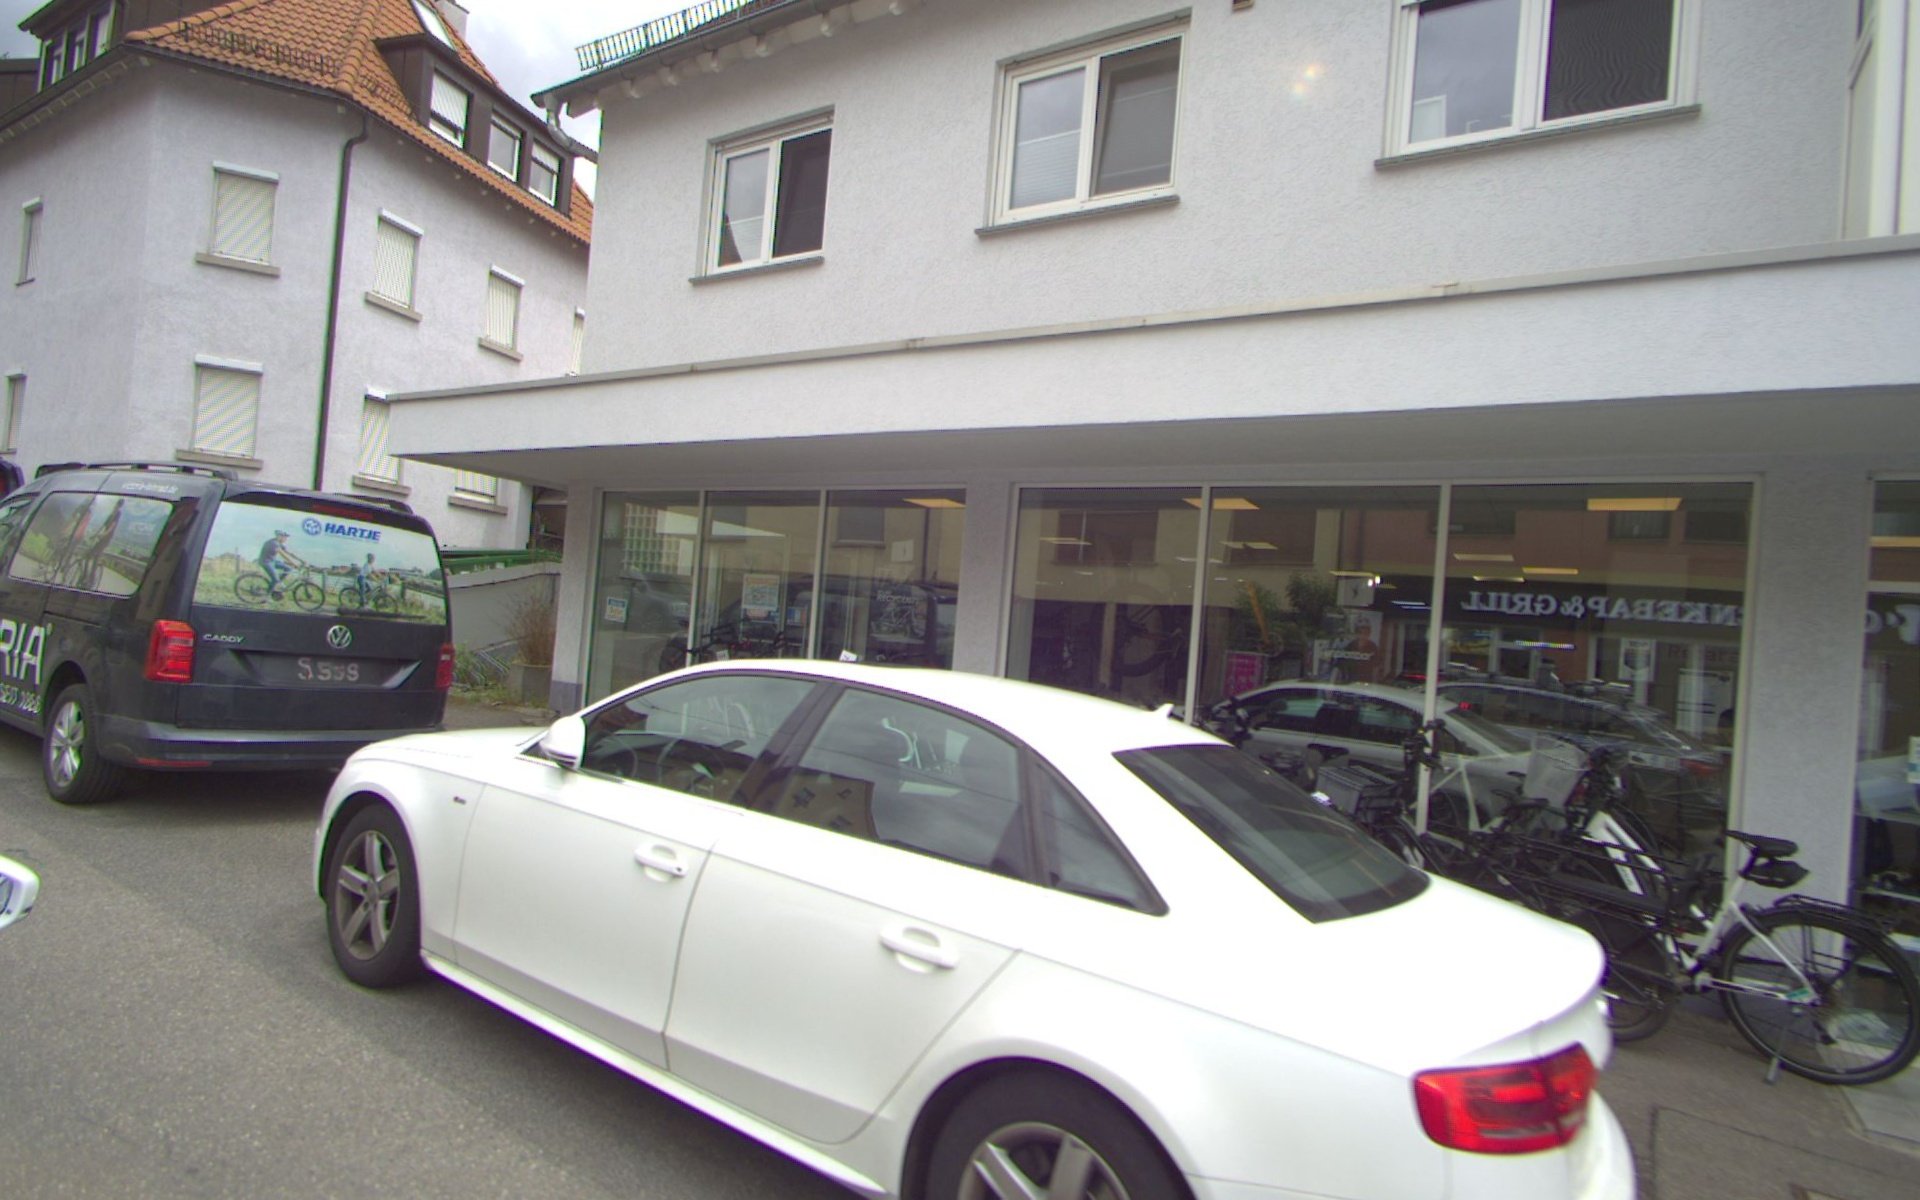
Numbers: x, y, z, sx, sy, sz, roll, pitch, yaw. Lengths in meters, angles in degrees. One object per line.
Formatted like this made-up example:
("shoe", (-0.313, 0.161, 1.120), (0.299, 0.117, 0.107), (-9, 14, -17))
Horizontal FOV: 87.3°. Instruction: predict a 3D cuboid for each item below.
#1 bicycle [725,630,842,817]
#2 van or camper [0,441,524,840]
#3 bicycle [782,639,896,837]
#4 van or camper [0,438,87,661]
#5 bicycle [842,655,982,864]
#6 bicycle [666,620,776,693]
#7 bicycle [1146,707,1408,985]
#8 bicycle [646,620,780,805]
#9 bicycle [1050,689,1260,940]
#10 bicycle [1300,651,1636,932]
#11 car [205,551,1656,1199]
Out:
("bicycle", (-1.345, 0.854, 7.450), (0.294, 1.127, 1.564), (5, 1, -27))
("van or camper", (-5.283, 0.084, 6.721), (4.602, 1.849, 1.875), (7, -2, 32))
("bicycle", (-0.900, 0.929, 7.209), (0.247, 1.174, 1.458), (5, 0, -26))
("van or camper", (-11.813, -0.811, 10.731), (5.846, 2.090, 1.997), (7, -1, 32))
("bicycle", (-0.365, 1.013, 6.784), (0.247, 1.127, 1.457), (5, 1, -27))
("bicycle", (-3.327, 0.809, 14.080), (0.620, 0.907, 1.355), (7, 0, 35))
("bicycle", (1.669, 1.267, 5.542), (0.335, 1.127, 1.457), (5, 1, -28))
("bicycle", (-1.922, 0.798, 7.658), (0.433, 1.127, 1.713), (5, 1, -30))
("bicycle", (1.088, 1.187, 5.934), (0.247, 1.127, 1.457), (5, 1, -27))
("bicycle", (2.575, 0.919, 5.257), (0.337, 1.127, 1.451), (5, 1, -39))
("car", (-0.505, 0.839, 3.486), (4.562, 1.452, 1.718), (7, -2, 32))
